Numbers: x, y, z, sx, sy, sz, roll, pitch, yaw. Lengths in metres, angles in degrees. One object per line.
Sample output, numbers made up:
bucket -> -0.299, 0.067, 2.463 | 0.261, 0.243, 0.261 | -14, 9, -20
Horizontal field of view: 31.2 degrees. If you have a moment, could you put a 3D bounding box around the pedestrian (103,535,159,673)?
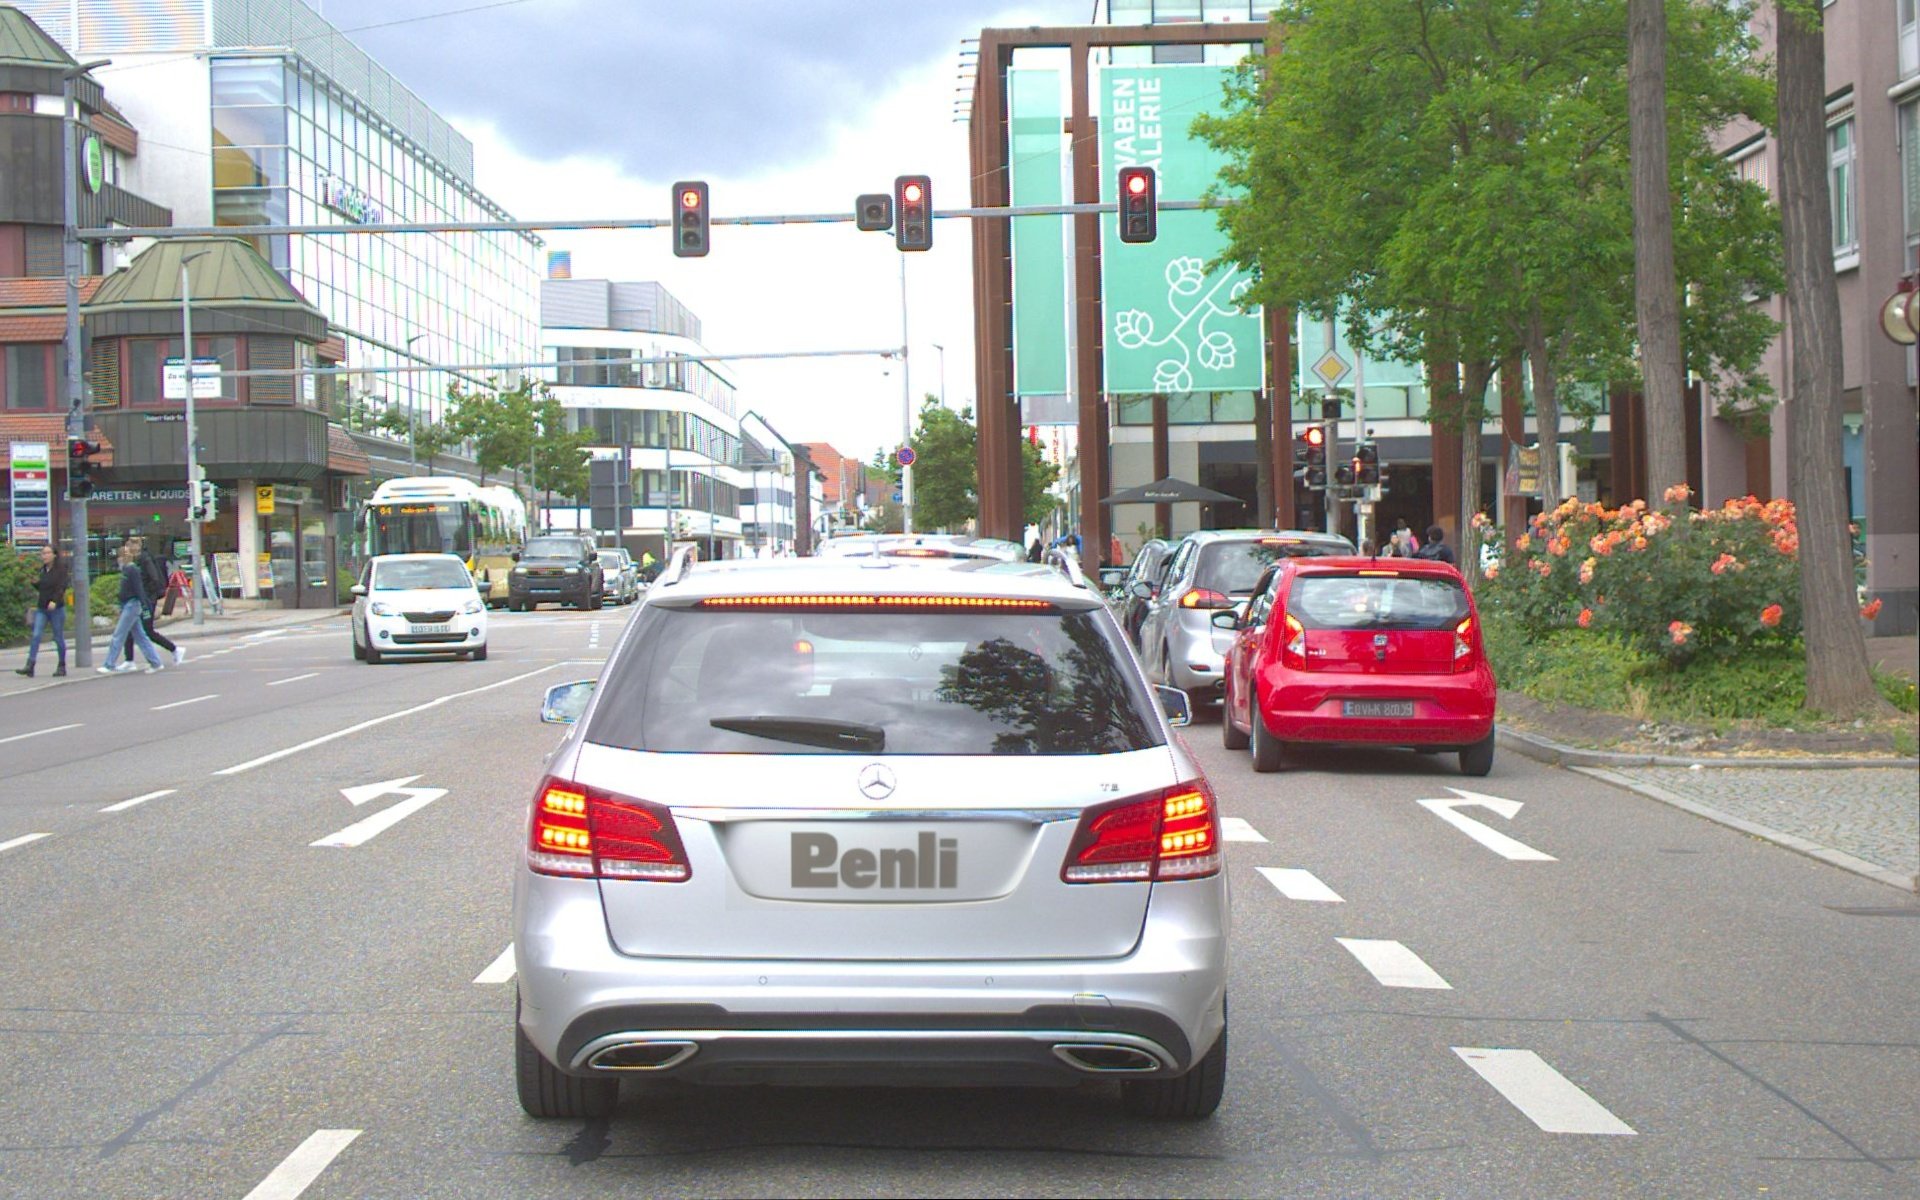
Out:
pedestrian -> -10.808, 0.045, 44.811 | 0.646, 1.784, 0.684 | -1, 1, -11

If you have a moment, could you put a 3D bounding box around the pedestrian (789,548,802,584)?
pedestrian -> -7.950, -1.634, 166.533 | 0.519, 1.728, 0.489 | -1, 1, 10

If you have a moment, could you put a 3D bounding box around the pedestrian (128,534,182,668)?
pedestrian -> -10.793, 0.006, 46.108 | 0.644, 1.769, 0.570 | -1, 1, -11

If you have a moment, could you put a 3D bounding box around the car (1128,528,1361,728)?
car -> 2.451, 0.196, 30.391 | 1.586, 1.628, 3.917 | 1, 1, -2

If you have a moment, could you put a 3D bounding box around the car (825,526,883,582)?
car -> -3.745, -1.657, 122.360 | 1.993, 1.942, 4.951 | -1, 1, -1

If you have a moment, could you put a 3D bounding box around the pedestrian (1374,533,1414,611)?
pedestrian -> 9.190, -0.600, 72.837 | 0.651, 1.645, 0.559 | -1, 1, -14

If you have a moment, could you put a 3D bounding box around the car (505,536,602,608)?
car -> -10.008, -0.710, 84.917 | 1.993, 1.700, 4.065 | -1, 1, -1

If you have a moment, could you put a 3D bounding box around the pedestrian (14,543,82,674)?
pedestrian -> -11.589, 0.101, 43.688 | 0.652, 1.645, 0.559 | -1, 1, 4

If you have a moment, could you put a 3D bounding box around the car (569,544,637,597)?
car -> -9.593, -0.797, 92.464 | 1.555, 1.387, 3.288 | -1, 1, -1

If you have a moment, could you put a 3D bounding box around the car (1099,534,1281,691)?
car -> 2.454, 0.098, 37.448 | 1.586, 1.589, 3.868 | 1, 1, -2

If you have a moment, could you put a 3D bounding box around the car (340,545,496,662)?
car -> -7.451, 0.027, 47.070 | 1.573, 1.483, 3.465 | -2, 1, -17

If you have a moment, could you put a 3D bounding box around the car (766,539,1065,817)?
car -> -0.258, 0.398, 20.611 | 1.640, 1.522, 3.394 | 0, 1, 0

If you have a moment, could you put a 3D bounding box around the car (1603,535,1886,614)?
car -> 14.275, -0.474, 62.757 | 4.715, 1.365, 1.964 | -1, 1, 1

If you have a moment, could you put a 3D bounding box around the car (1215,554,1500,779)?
car -> 2.732, 0.417, 24.247 | 1.586, 1.438, 3.348 | 1, 1, 0

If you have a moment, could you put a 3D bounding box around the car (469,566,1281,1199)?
car -> -0.196, 0.647, 9.976 | 1.815, 1.443, 4.369 | 1, 1, 0

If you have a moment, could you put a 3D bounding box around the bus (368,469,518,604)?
bus -> -13.097, -1.615, 87.715 | 2.686, 3.250, 8.654 | -1, 1, -1
